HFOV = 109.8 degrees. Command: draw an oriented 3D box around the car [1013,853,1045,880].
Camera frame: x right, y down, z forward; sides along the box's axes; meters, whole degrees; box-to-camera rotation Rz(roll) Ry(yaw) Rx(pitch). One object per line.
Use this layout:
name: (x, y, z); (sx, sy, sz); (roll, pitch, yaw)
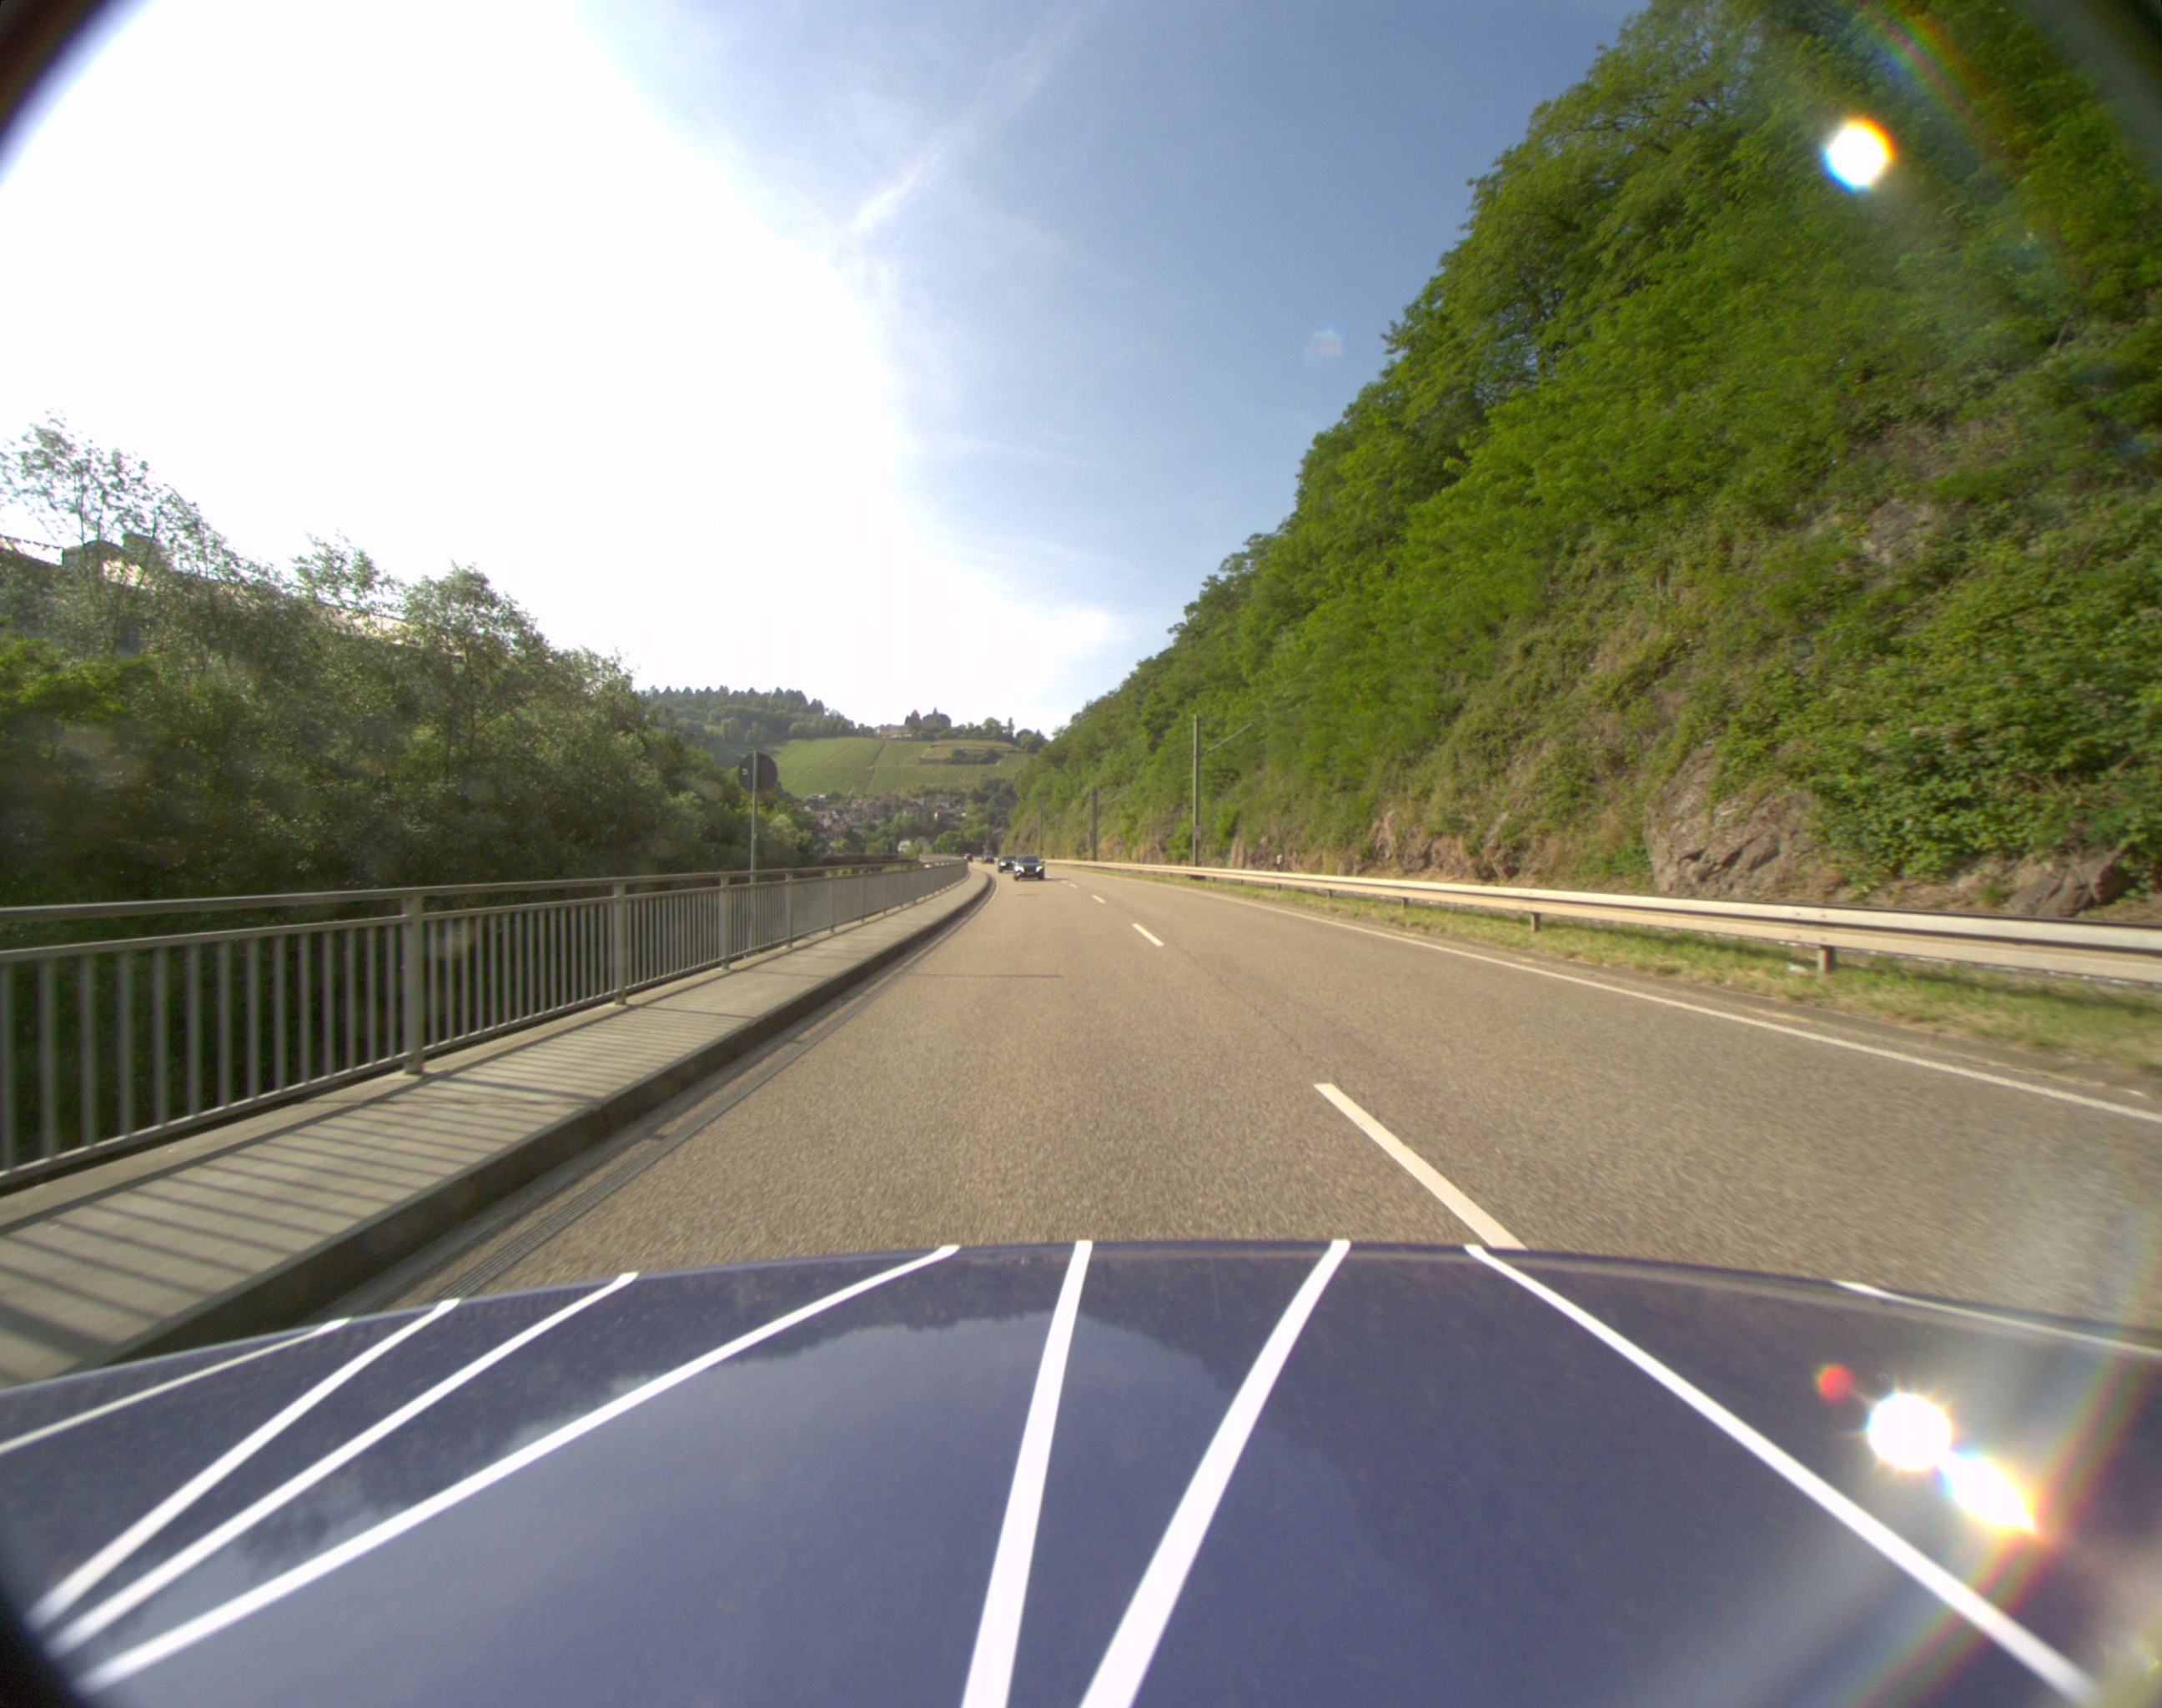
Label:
car: (-3.381, 0.753, 49.017); (1.864, 1.576, 3.997); (-2, 1, -6)

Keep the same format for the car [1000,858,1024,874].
car: (-6.412, 1.113, 70.277); (2.000, 1.384, 3.997); (3, -1, -8)

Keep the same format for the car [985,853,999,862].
car: (-15.053, 0.641, 128.021); (1.854, 1.393, 4.472); (-2, -1, -12)

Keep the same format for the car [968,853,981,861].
car: (-21.482, 0.559, 153.434); (1.855, 1.431, 3.891); (0, -2, -21)
